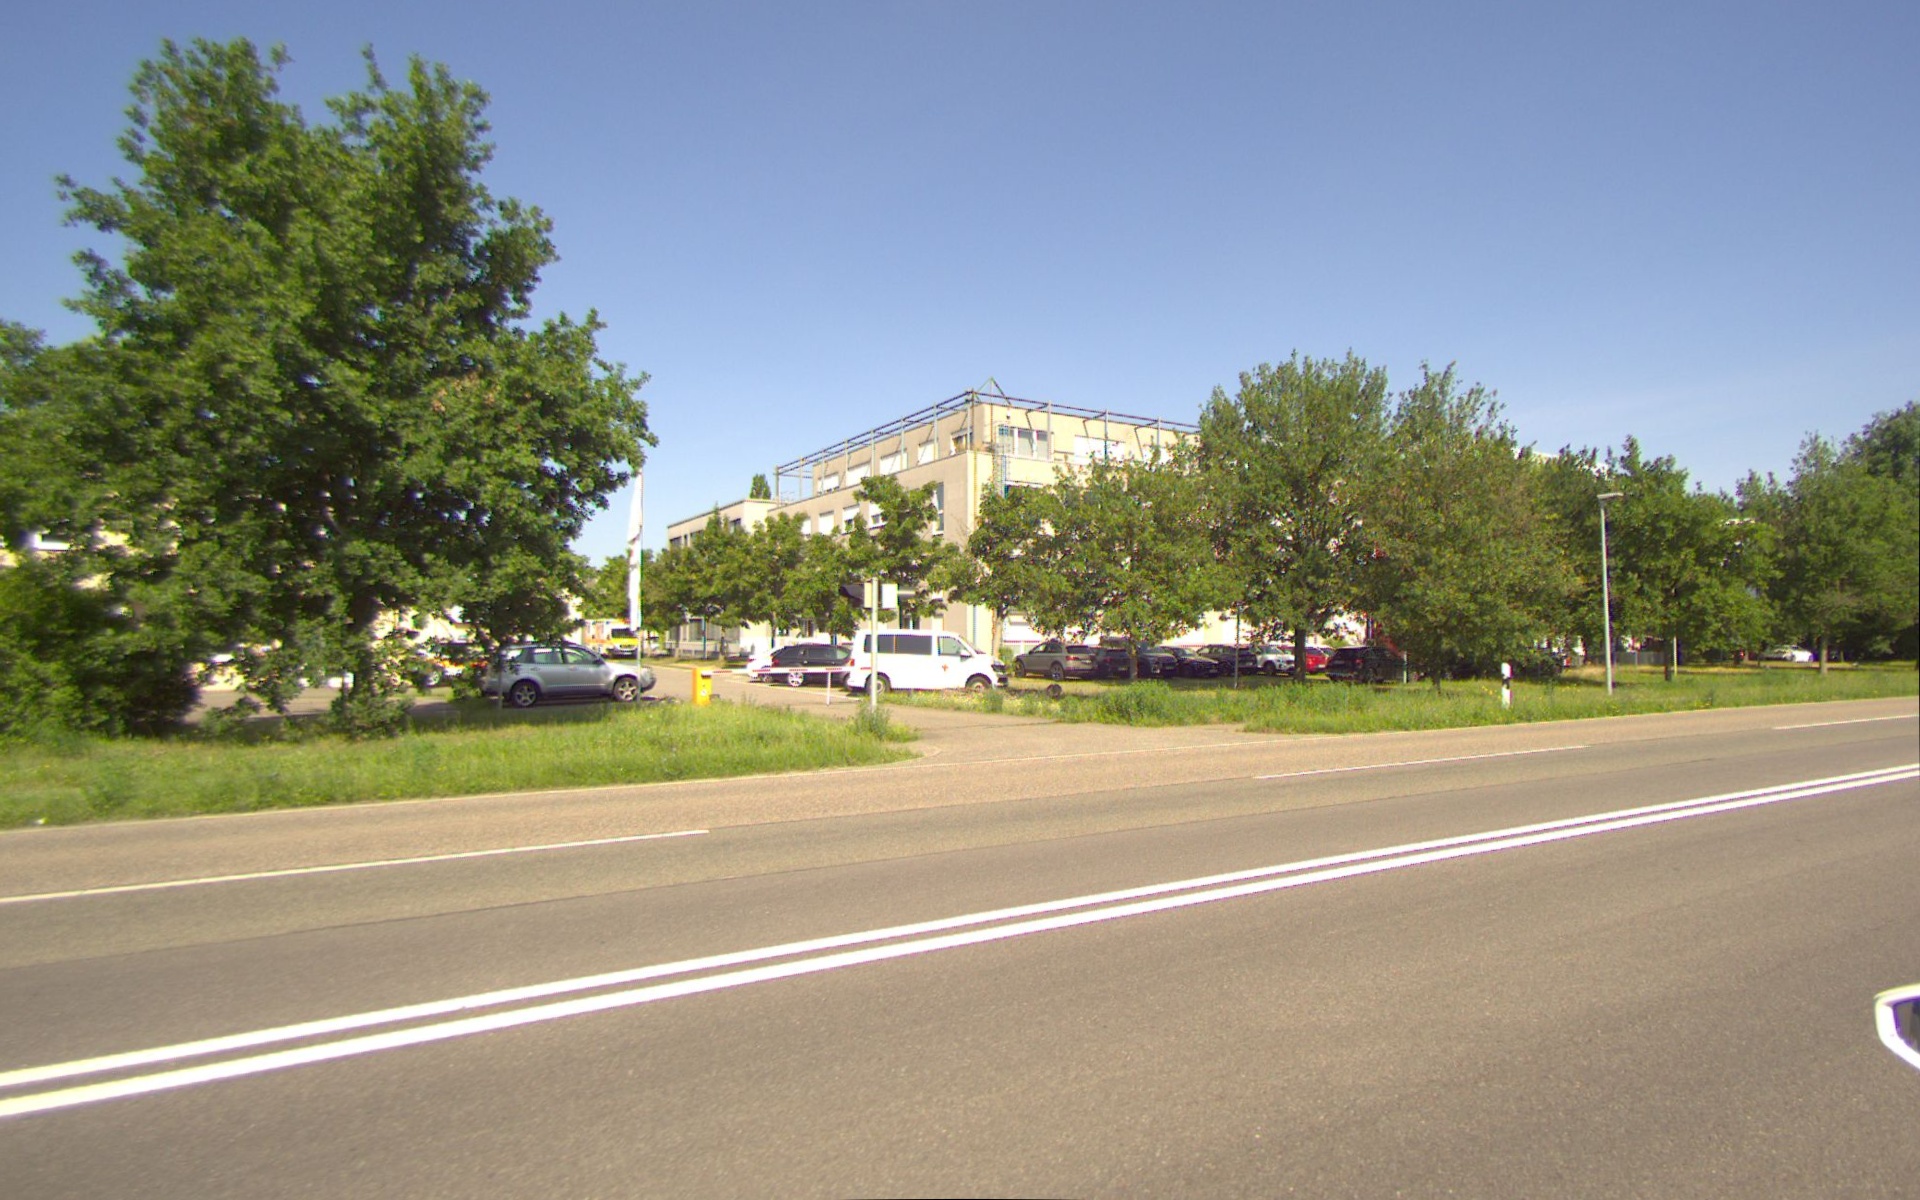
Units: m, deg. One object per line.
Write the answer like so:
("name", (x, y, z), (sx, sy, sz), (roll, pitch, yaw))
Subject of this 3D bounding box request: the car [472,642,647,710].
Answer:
("car", (-10.824, 1.990, 27.207), (4.145, 1.673, 1.919), (1, -2, -32))

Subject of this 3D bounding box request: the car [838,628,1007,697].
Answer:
("car", (-1.075, 1.852, 30.251), (4.916, 1.954, 2.075), (1, -2, 0))

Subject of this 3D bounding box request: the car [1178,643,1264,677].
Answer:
("car", (12.759, 2.915, 49.334), (1.866, 1.557, 3.968), (1, -2, -31))

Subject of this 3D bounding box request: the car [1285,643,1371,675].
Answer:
("car", (19.378, 3.087, 53.071), (1.722, 1.606, 4.115), (1, -2, -31))

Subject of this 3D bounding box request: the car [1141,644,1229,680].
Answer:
("car", (10.619, 2.897, 47.593), (1.866, 1.557, 3.968), (1, -2, -31))

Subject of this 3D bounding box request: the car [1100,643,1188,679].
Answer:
("car", (8.457, 2.778, 46.397), (1.866, 1.557, 3.968), (1, -2, -31))

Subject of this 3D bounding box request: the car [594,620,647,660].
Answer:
("car", (-23.633, 2.761, 69.830), (2.259, 2.643, 6.548), (1, -2, -30))

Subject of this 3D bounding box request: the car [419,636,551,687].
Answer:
("car", (-16.882, 2.145, 35.732), (4.120, 1.680, 1.847), (1, -2, -31))

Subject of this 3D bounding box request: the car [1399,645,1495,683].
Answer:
("car", (22.171, 2.876, 45.672), (4.496, 1.599, 1.735), (1, -2, -31))

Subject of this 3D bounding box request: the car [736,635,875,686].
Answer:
("car", (-5.815, 2.263, 38.271), (4.916, 1.830, 2.075), (1, -2, 0))

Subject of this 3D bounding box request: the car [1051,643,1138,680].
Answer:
("car", (6.044, 2.734, 45.411), (1.866, 1.557, 3.968), (1, -2, -31))

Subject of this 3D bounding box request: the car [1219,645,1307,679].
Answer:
("car", (15.015, 3.058, 49.918), (1.866, 1.557, 3.968), (1, -2, -31))

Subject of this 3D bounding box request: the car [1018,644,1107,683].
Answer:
("car", (4.415, 2.713, 43.729), (1.866, 1.557, 3.968), (1, -2, -31))

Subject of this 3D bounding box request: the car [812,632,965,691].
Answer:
("car", (-2.302, 2.023, 33.543), (4.916, 1.830, 2.075), (1, -2, 0))

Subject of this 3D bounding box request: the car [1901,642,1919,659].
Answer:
("car", (85.764, 4.436, 87.901), (1.977, 1.456, 4.573), (1, -2, -30))

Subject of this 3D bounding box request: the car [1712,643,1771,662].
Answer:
("car", (62.235, 4.184, 79.952), (4.894, 1.456, 1.985), (1, -2, -29))

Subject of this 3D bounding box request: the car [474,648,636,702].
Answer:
("car", (-11.798, 2.139, 29.328), (4.145, 1.412, 1.919), (1, -2, -32))

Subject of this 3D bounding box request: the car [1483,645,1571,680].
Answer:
("car", (27.568, 2.998, 48.832), (4.496, 1.599, 1.735), (1, -2, -31))

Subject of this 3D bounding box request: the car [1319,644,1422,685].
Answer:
("car", (17.500, 2.709, 42.797), (4.496, 1.599, 1.735), (1, -2, -31))

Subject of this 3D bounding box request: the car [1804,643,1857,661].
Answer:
("car", (72.277, 4.287, 83.377), (4.556, 1.456, 1.984), (1, -2, -31))

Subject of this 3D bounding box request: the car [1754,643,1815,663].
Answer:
("car", (64.011, 4.110, 77.993), (4.894, 1.456, 1.985), (1, -2, -29))

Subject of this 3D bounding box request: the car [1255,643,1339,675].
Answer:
("car", (17.382, 3.015, 51.934), (1.722, 1.557, 3.968), (1, -2, -31))
